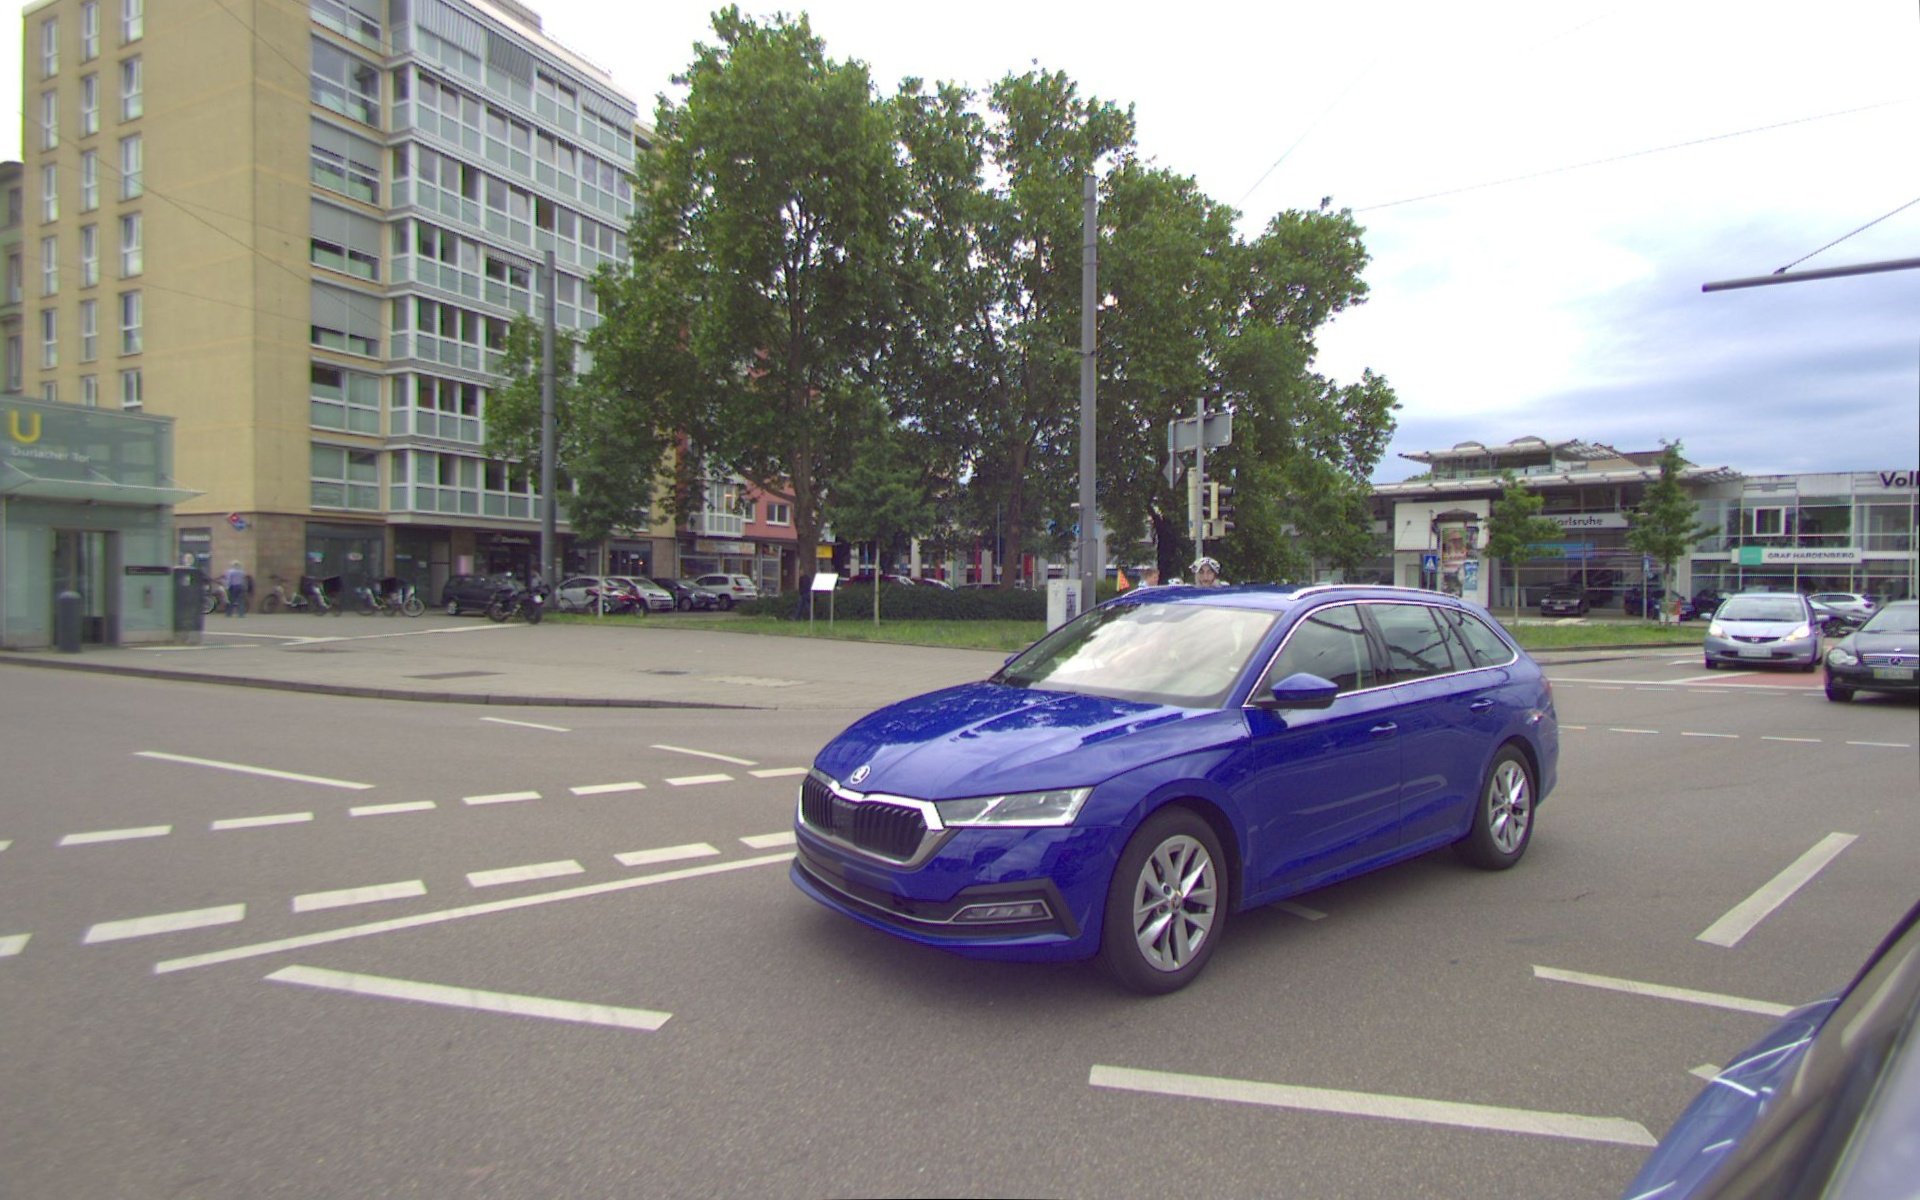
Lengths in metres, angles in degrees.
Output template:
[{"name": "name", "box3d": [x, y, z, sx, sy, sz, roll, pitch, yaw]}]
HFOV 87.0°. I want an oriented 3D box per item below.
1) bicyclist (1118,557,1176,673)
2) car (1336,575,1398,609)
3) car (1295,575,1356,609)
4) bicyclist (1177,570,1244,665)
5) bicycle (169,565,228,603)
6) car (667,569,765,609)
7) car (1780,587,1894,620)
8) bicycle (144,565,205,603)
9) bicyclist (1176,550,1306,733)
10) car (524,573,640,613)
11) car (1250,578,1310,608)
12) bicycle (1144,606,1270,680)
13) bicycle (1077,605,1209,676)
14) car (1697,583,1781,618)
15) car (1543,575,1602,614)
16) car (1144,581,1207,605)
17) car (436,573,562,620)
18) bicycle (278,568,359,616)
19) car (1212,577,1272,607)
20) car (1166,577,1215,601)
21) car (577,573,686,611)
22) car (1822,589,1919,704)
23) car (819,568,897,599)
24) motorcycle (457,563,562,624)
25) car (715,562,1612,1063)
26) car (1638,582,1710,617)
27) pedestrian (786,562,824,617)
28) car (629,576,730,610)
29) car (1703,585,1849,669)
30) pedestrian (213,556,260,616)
[{"name": "bicyclist", "box3d": [2.942, 0.221, 15.893, 0.729, 1.773, 0.579, 0, 1, 31]}, {"name": "car", "box3d": [24.862, -0.503, 61.723, 4.166, 1.472, 1.953, -11, 9, -43]}, {"name": "car", "box3d": [23.056, -0.531, 63.784, 4.165, 1.615, 1.953, -9, 8, -44]}, {"name": "bicyclist", "box3d": [4.194, 0.268, 16.973, 0.882, 1.540, 0.663, 2, 1, 39]}, {"name": "bicycle", "box3d": [-25.083, -0.524, 33.319, 2.018, 1.183, 0.664, 2, 1, 24]}, {"name": "car", "box3d": [-11.230, -0.526, 46.635, 3.947, 1.745, 1.989, 1, 1, 19]}, {"name": "car", "box3d": [41.491, 0.138, 47.941, 1.703, 1.459, 3.901, 0, 1, -41]}, {"name": "bicycle", "box3d": [-25.385, -0.517, 32.698, 2.018, 1.183, 0.664, 2, 1, 24]}, {"name": "bicyclist", "box3d": [2.682, 0.368, 9.672, 0.915, 1.639, 0.791, 0, -1, -35]}, {"name": "car", "box3d": [-14.885, -0.316, 39.892, 3.949, 1.482, 1.987, 1, 1, 20]}, {"name": "car", "box3d": [20.789, -0.485, 65.700, 4.164, 1.483, 1.953, -8, 7, -44]}, {"name": "bicycle", "box3d": [4.127, 0.688, 16.992, 1.937, 1.010, 0.593, 6, 4, 39]}, {"name": "bicycle", "box3d": [2.875, 0.617, 15.970, 1.977, 1.010, 0.573, 0, 3, 33]}, {"name": "car", "box3d": [37.930, -0.013, 49.406, 1.765, 1.580, 4.017, 1, 1, 14]}, {"name": "car", "box3d": [32.436, -0.344, 53.548, 1.949, 1.662, 4.610, 1, 6, 40]}, {"name": "car", "box3d": [14.913, -0.496, 70.141, 1.628, 1.531, 4.141, -1, 2, -43]}, {"name": "car", "box3d": [-16.083, -0.165, 35.294, 4.124, 1.460, 1.826, 2, 2, 26]}, {"name": "bicycle", "box3d": [-19.762, -0.260, 31.166, 2.759, 1.394, 0.895, 2, 1, 29]}, {"name": "car", "box3d": [18.871, -0.535, 67.635, 4.165, 1.529, 1.953, -9, 7, -44]}, {"name": "car", "box3d": [16.382, -0.800, 71.846, 1.418, 1.530, 3.116, -6, 5, -43]}, {"name": "car", "box3d": [-13.783, -0.365, 42.482, 3.947, 1.460, 1.989, 2, 2, 18]}, {"name": "car", "box3d": [13.691, 0.567, 13.946, 4.339, 1.387, 1.771, -1, 1, -36]}, {"name": "car", "box3d": [-5.826, -0.951, 57.871, 3.948, 1.633, 1.988, 2, 1, 19]}, {"name": "motorcycle", "box3d": [-11.456, -0.187, 25.753, 2.262, 1.381, 1.042, 2, 7, 18]}, {"name": "car", "box3d": [1.331, 0.586, 5.065, 4.669, 1.454, 1.770, 0, 1, -38]}, {"name": "car", "box3d": [35.452, -0.071, 50.382, 1.934, 1.544, 4.201, 1, 3, 21]}, {"name": "pedestrian", "box3d": [-5.263, -0.356, 34.405, 0.861, 1.841, 0.887, 2, 1, 34]}, {"name": "car", "box3d": [-12.285, -0.337, 44.333, 3.947, 1.351, 1.827, 2, 2, 18]}, {"name": "car", "box3d": [16.104, 0.470, 19.903, 3.867, 1.502, 1.706, 0, 0, -43]}, {"name": "pedestrian", "box3d": [-21.816, -0.417, 30.525, 0.897, 1.759, 0.806, 2, 1, 24]}]
